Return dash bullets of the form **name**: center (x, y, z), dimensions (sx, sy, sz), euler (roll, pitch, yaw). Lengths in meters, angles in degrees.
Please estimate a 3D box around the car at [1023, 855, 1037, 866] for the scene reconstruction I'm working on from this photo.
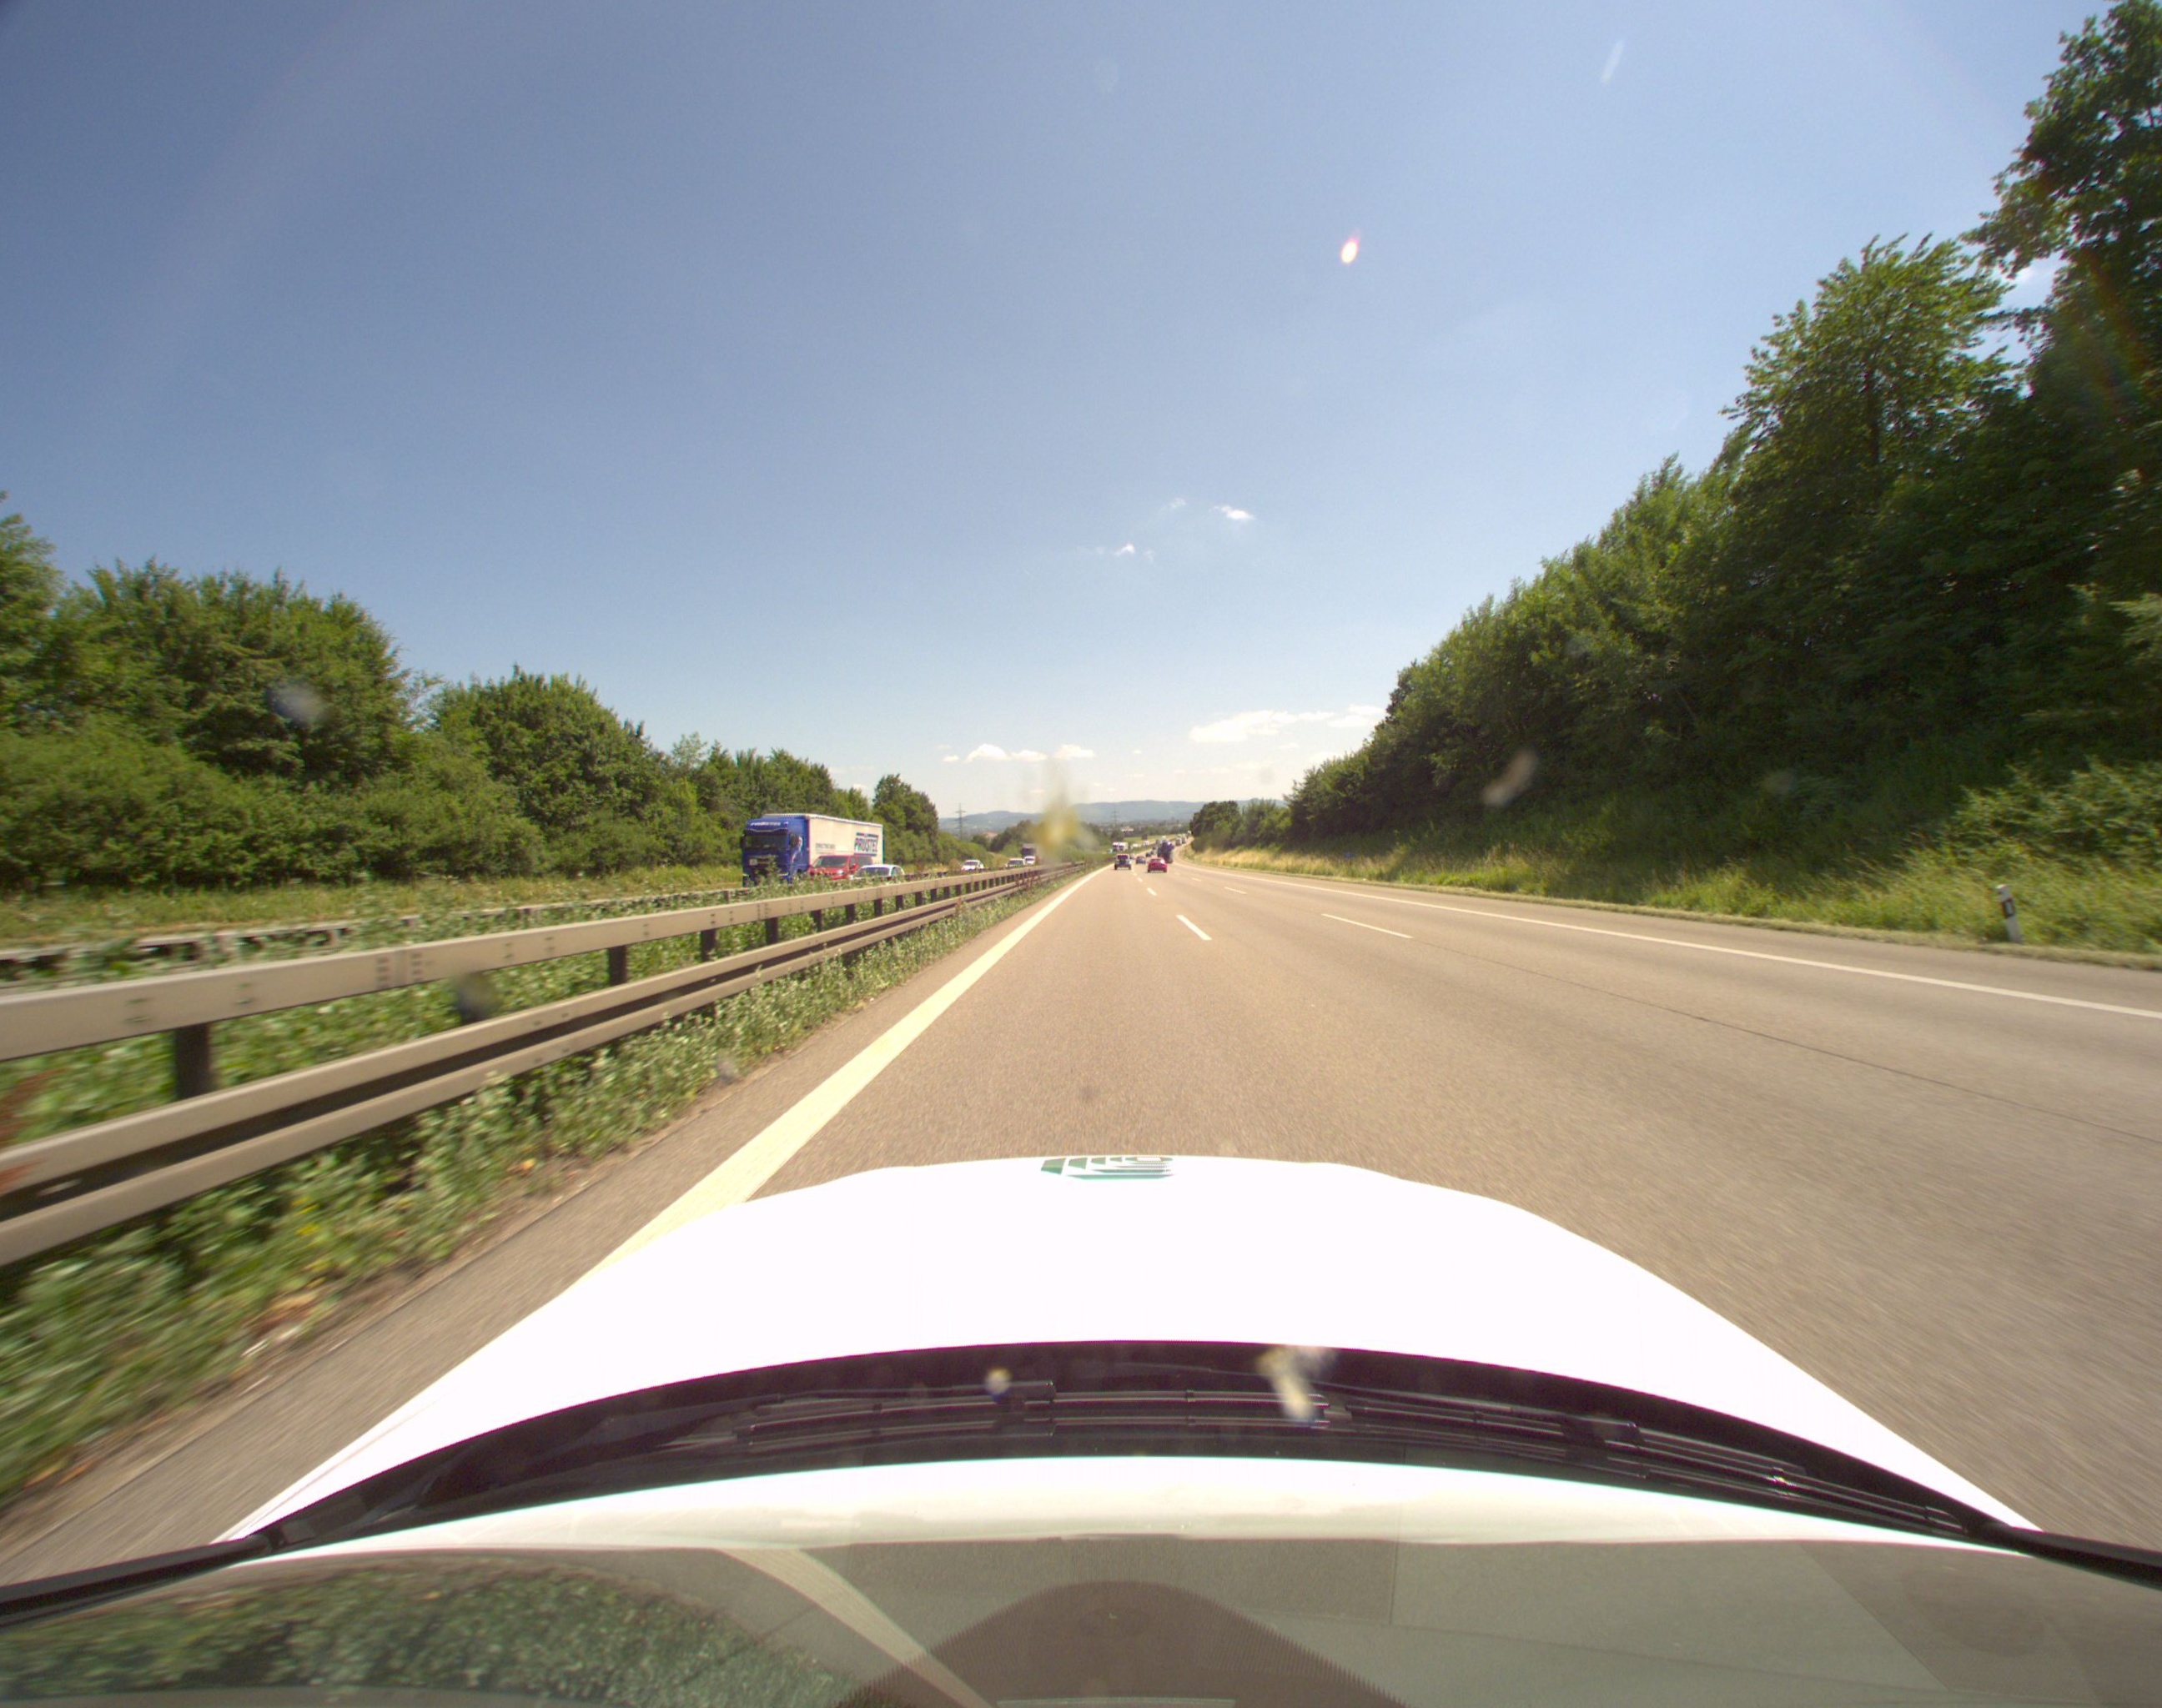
- **car**: center (-7.452, 0.917, 118.416), dimensions (1.493, 1.514, 4.872), euler (-1, -1, 3)

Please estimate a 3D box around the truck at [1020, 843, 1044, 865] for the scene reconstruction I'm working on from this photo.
- **truck**: center (-9.359, -0.019, 157.932), dimensions (2.963, 4.013, 16.839), euler (-1, 0, 3)

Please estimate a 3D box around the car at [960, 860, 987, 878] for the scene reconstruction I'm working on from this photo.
- **car**: center (-9.470, 1.269, 72.071), dimensions (1.575, 1.462, 4.359), euler (-1, 0, 2)

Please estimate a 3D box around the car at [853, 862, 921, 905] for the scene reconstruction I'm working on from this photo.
- **car**: center (-7.570, 1.111, 32.122), dimensions (1.617, 1.489, 3.862), euler (-1, 1, 2)

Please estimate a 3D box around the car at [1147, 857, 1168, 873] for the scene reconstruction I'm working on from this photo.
- **car**: center (7.353, 1.070, 78.569), dimensions (1.681, 1.378, 3.947), euler (-1, 1, -1)

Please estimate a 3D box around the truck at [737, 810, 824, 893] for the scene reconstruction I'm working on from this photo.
- **truck**: center (-15.718, -0.156, 42.985), dimensions (2.483, 4.118, 5.087), euler (-1, 1, 2)

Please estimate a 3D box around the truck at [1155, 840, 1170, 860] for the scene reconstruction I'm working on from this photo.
- **truck**: center (16.407, -0.859, 163.986), dimensions (2.742, 3.852, 6.651), euler (-1, 1, 4)

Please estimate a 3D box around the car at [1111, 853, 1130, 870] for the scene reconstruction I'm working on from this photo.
- **car**: center (4.648, 0.891, 96.086), dimensions (2.076, 1.829, 4.754), euler (-1, 1, 1)

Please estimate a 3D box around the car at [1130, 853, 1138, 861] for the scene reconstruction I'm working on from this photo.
- **car**: center (13.529, 0.709, 208.591), dimensions (1.687, 2.013, 3.834), euler (-1, 1, 11)

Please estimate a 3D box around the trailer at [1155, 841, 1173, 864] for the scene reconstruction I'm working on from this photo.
- **trailer**: center (15.878, -0.369, 156.311), dimensions (2.842, 3.993, 15.415), euler (-1, 1, 4)

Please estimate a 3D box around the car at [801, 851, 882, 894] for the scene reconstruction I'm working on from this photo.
- **car**: center (-11.199, 0.809, 38.537), dimensions (1.853, 1.880, 5.828), euler (-1, 0, 3)

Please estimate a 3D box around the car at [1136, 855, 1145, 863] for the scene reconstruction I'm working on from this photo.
- **car**: center (10.565, 0.943, 145.116), dimensions (1.446, 1.267, 3.541), euler (-1, 1, 2)

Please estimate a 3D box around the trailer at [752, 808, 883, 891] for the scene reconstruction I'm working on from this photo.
- **trailer**: center (-15.469, -0.348, 49.685), dimensions (2.624, 4.253, 14.686), euler (-1, 1, 2)
